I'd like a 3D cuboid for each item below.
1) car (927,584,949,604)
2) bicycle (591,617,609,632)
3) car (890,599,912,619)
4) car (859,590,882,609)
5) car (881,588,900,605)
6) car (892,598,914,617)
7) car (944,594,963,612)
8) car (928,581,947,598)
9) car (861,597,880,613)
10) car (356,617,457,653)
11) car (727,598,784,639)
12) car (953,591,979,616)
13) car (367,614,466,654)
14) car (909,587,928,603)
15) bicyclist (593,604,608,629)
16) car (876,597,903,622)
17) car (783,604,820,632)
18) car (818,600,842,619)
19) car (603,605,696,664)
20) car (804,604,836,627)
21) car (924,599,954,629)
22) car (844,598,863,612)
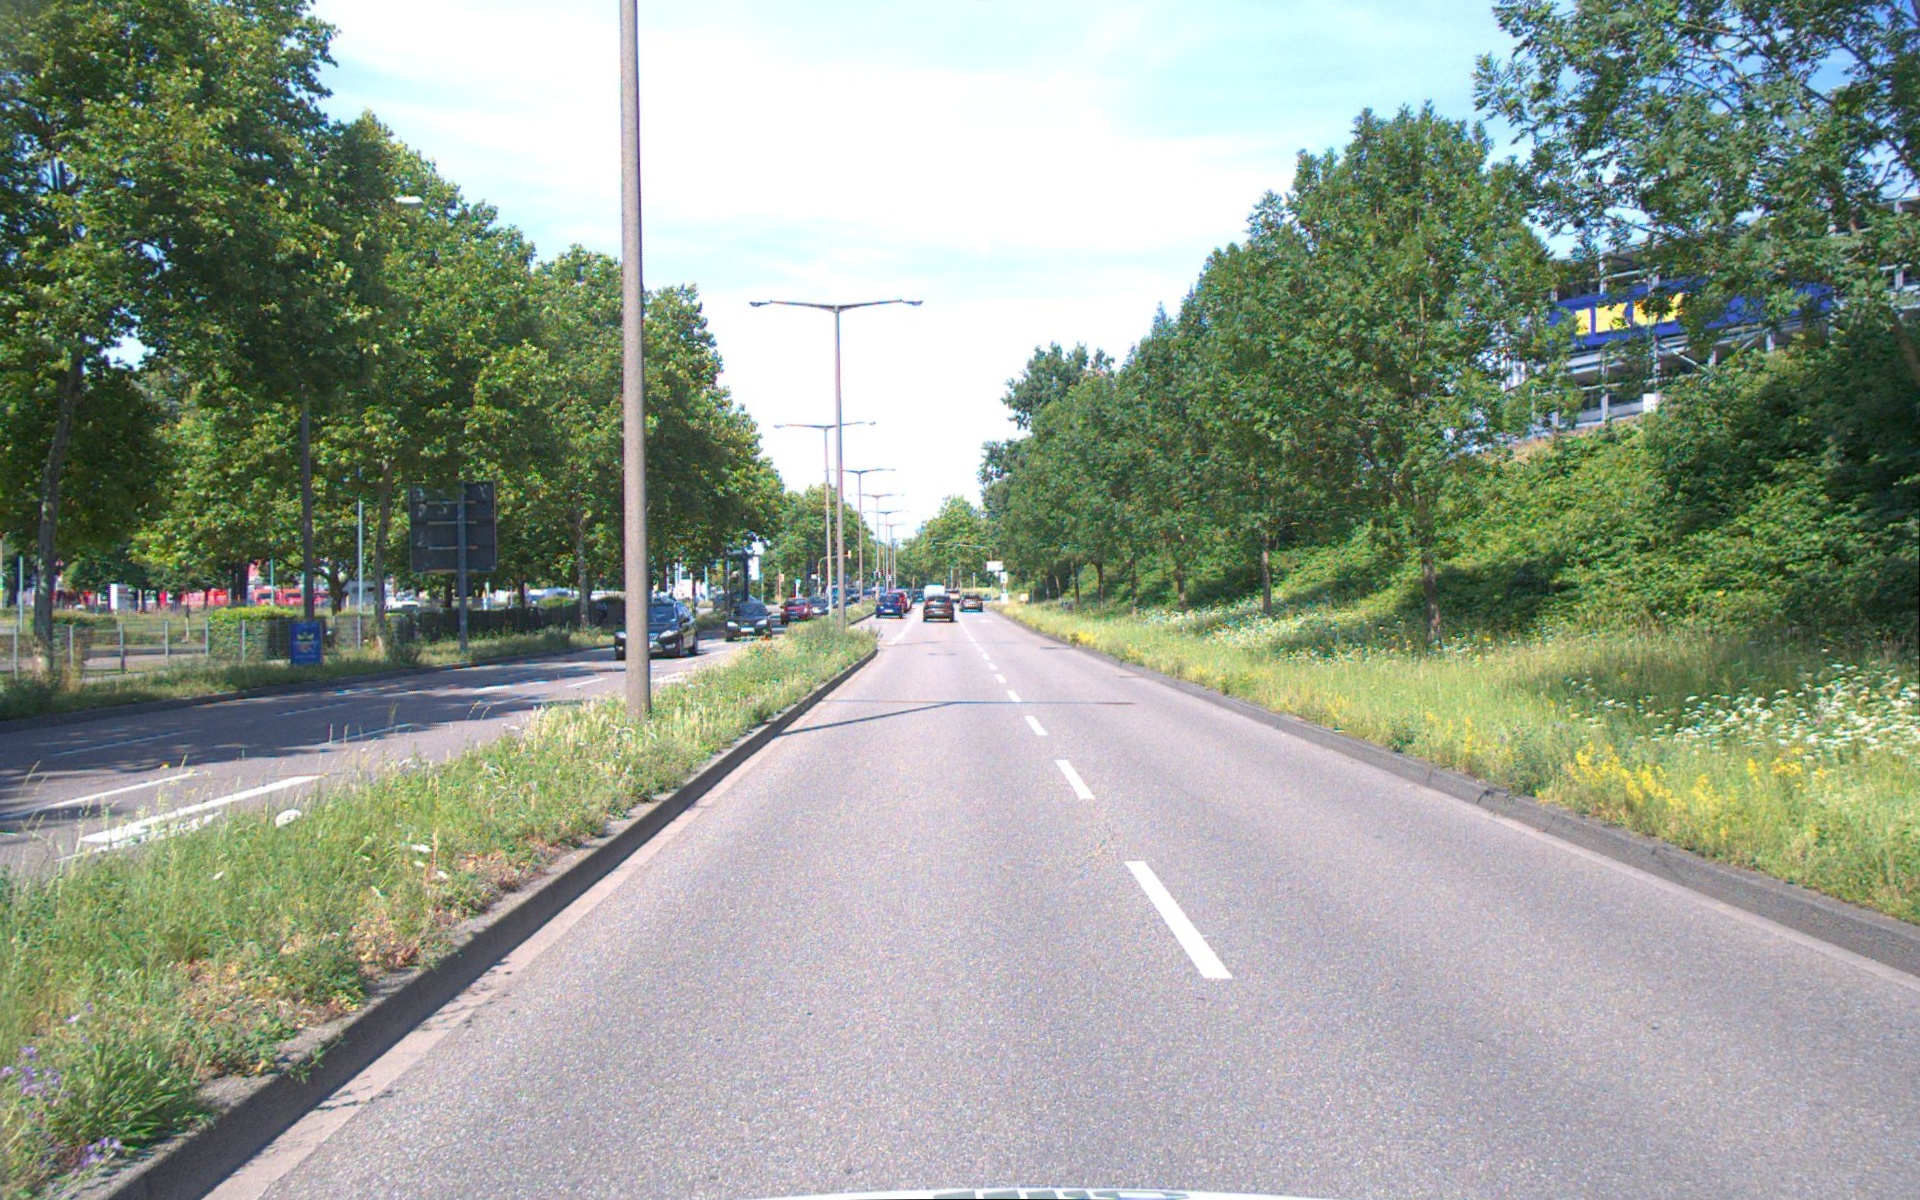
[{"bbox_3d":[-1.953,-0.513,148.046,1.953,1.738,4.263,-1,0,0],"label":"car"},{"bbox_3d":[-21.574,1.448,99.170,0.675,0.881,1.926,-1,0,-1],"label":"bicycle"},{"bbox_3d":[-4.643,0.706,130.659,1.730,1.505,4.134,1,0,-1],"label":"car"},{"bbox_3d":[-8.258,-0.032,152.611,1.953,1.738,4.262,-1,0,-1],"label":"car"},{"bbox_3d":[-8.066,-0.443,190.947,1.952,1.892,4.000,-1,0,0],"label":"car"},{"bbox_3d":[-4.939,0.661,143.811,1.843,1.646,4.211,0,0,-1],"label":"car"},{"bbox_3d":[-0.678,0.308,172.237,1.953,1.738,4.262,-1,0,-1],"label":"car"},{"bbox_3d":[-2.693,-1.229,199.043,1.954,2.049,3.996,-1,0,-4],"label":"car"},{"bbox_3d":[-10.714,0.632,197.780,1.952,1.806,4.001,-1,0,2],"label":"car"},{"bbox_3d":[-24.848,1.577,74.276,3.905,1.490,1.772,-1,0,0],"label":"car"},{"bbox_3d":[-7.934,0.706,64.476,1.737,1.493,4.669,-2,0,-2],"label":"car"},{"bbox_3d":[0.480,0.267,132.573,1.977,1.870,4.000,0,1,-1],"label":"car"},{"bbox_3d":[-25.432,1.577,77.473,3.903,1.855,2.157,0,-1,3],"label":"car"},{"bbox_3d":[-4.332,-0.499,173.632,1.895,1.676,3.999,-1,0,-1],"label":"car"},{"bbox_3d":[-21.580,0.991,99.291,0.667,1.511,0.941,-1,0,-1],"label":"bicyclist"},{"bbox_3d":[-4.465,0.585,104.981,1.593,1.509,4.047,1,0,-1],"label":"car"},{"bbox_3d":[-9.135,1.009,95.654,1.727,1.488,4.000,-2,0,0],"label":"car"},{"bbox_3d":[-10.805,0.764,137.218,1.732,1.494,4.282,-1,0,-2],"label":"car"},{"bbox_3d":[-8.462,0.901,45.481,1.790,1.493,4.986,-1,0,-2],"label":"car"},{"bbox_3d":[-9.275,1.008,109.676,1.802,1.504,4.165,-1,0,-1],"label":"car"},{"bbox_3d":[-1.229,0.785,96.931,1.701,1.562,4.000,0,2,-1],"label":"car"},{"bbox_3d":[-12.546,0.621,195.355,1.953,1.557,4.681,-2,0,-1],"label":"car"}]
